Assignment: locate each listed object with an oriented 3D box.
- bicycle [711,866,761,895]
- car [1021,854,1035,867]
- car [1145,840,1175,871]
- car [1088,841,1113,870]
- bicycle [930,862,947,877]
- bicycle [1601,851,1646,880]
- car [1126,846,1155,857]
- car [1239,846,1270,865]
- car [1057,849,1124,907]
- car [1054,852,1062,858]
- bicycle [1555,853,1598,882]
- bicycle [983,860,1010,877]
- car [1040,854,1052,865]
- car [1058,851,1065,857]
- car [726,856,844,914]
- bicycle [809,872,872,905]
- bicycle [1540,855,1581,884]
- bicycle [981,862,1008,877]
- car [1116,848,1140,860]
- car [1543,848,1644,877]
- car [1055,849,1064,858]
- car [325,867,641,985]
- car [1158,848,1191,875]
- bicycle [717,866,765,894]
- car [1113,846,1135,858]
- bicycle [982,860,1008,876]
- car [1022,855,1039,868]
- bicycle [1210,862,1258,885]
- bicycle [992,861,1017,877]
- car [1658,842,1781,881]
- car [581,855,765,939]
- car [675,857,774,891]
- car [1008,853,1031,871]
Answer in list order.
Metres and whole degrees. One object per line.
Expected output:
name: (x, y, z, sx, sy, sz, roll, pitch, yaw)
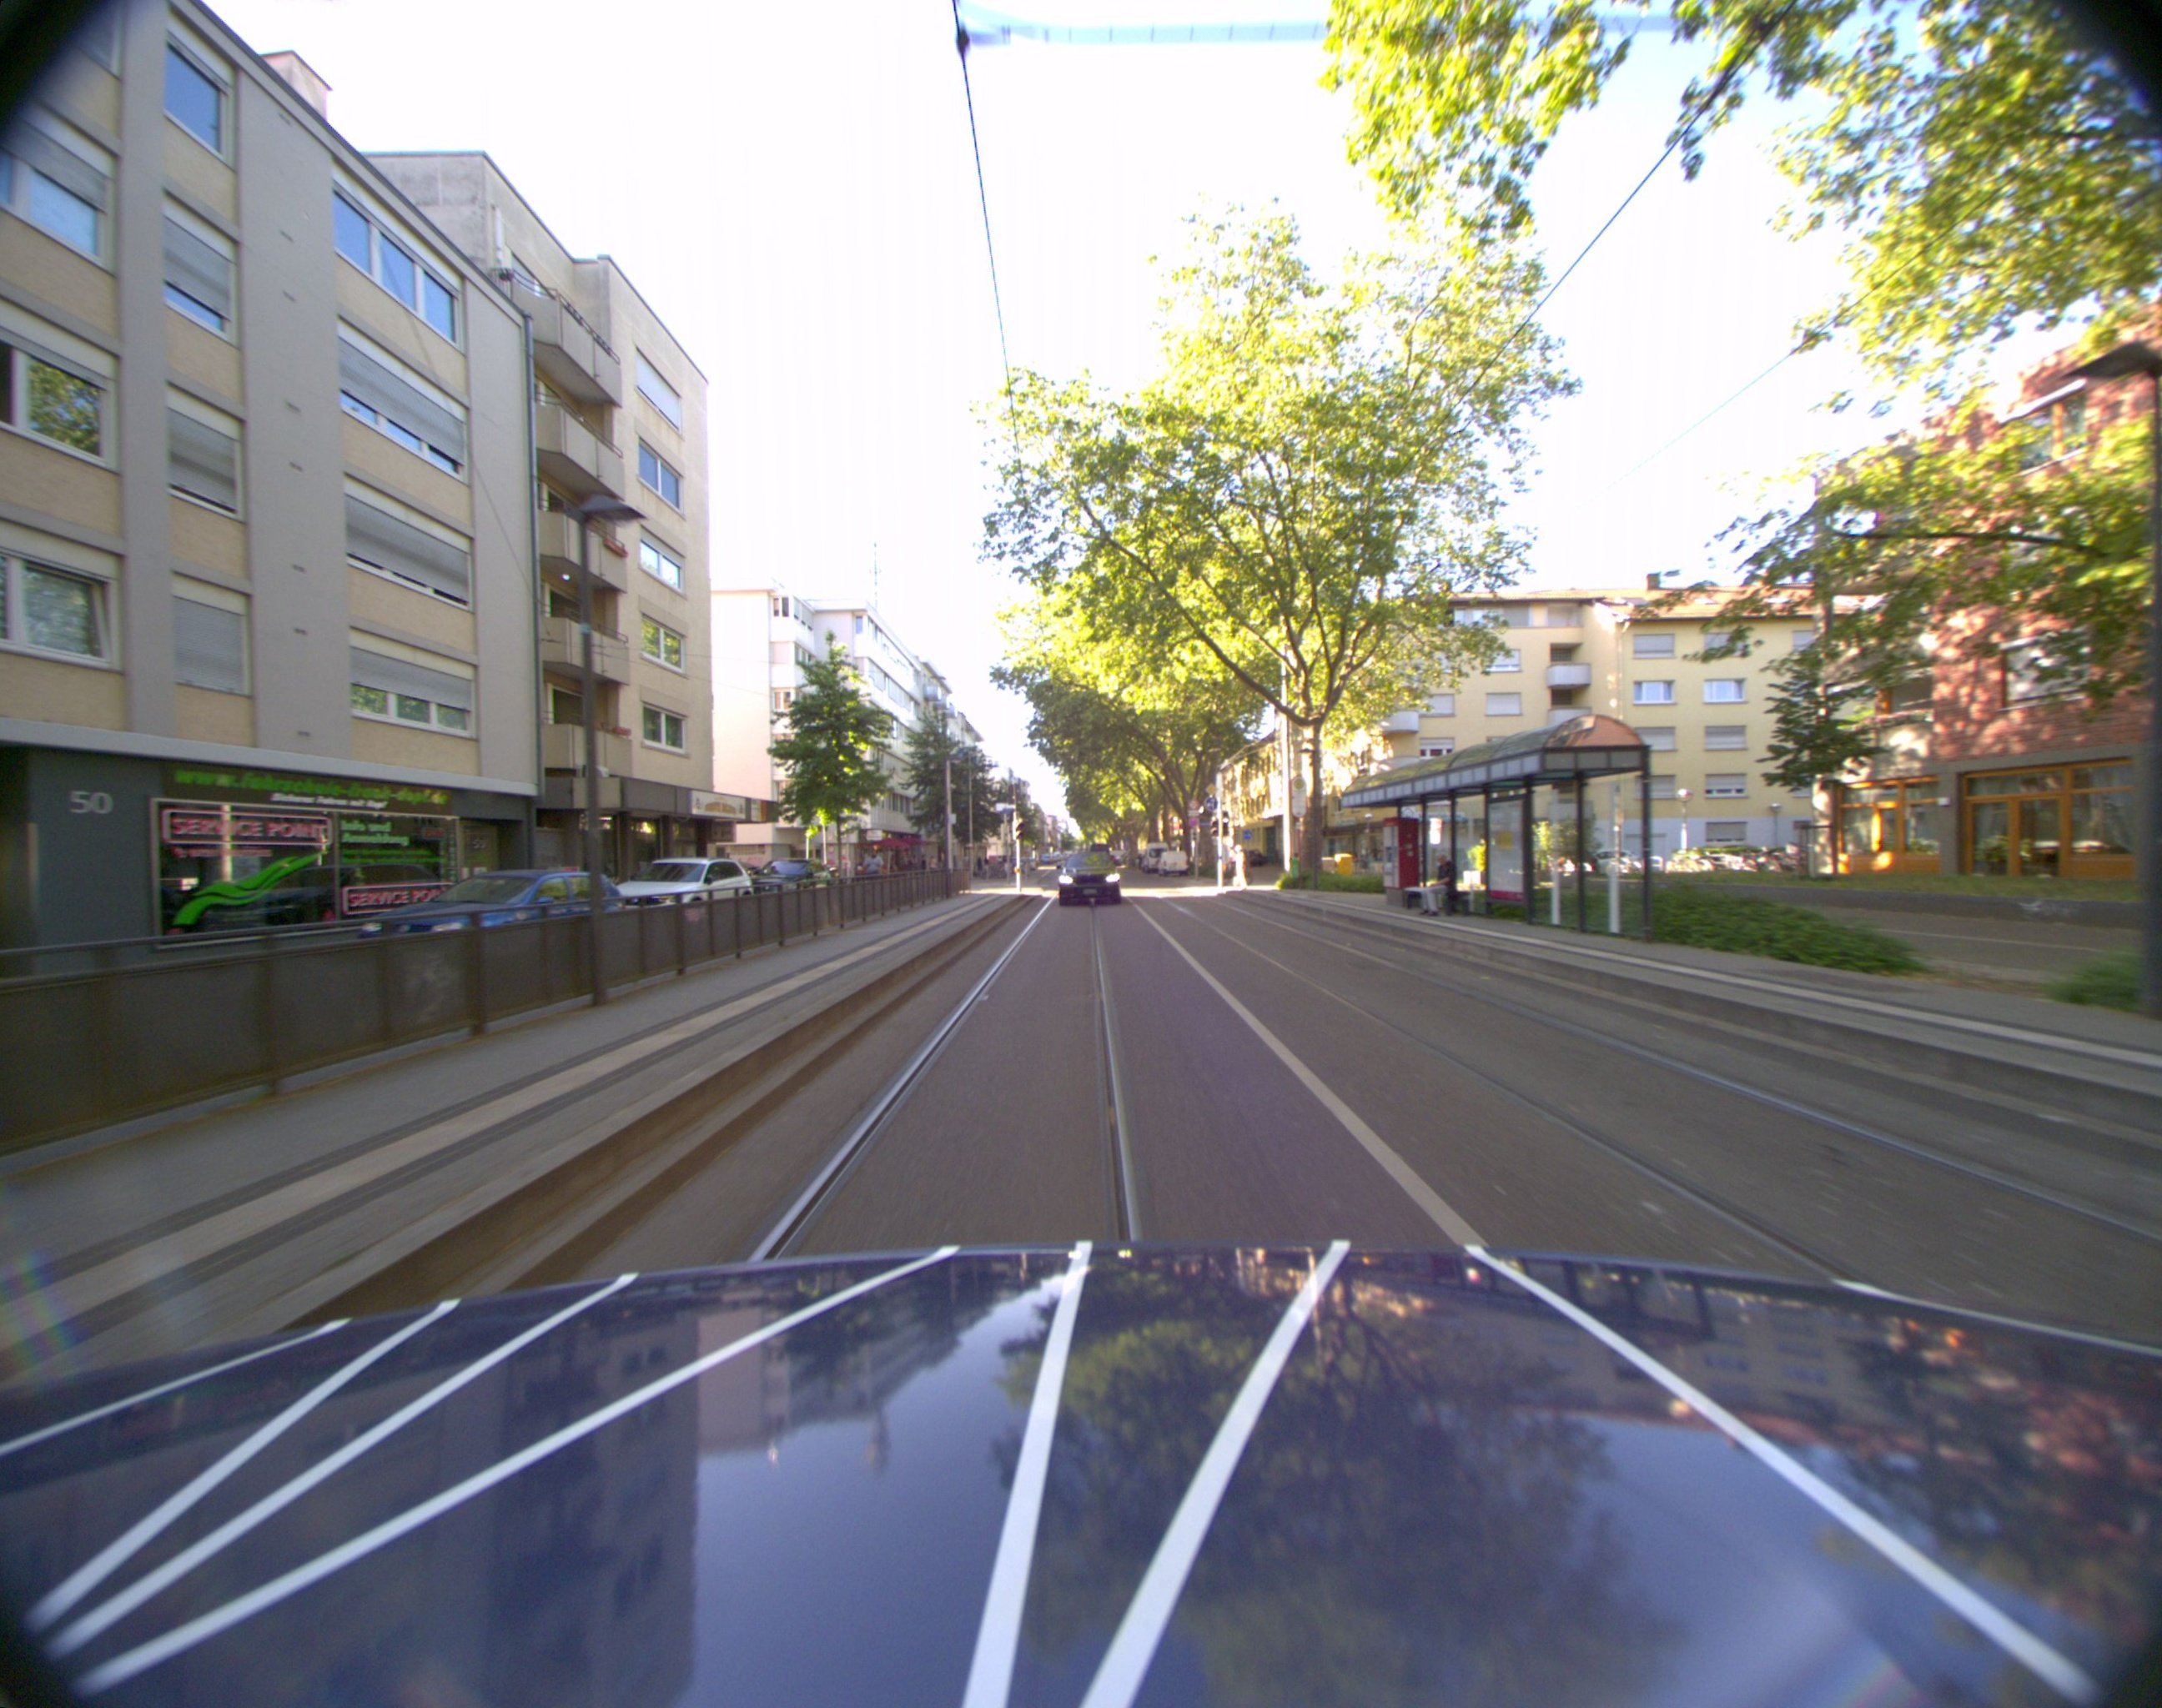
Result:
bicycle: (-15.453, 1.188, 34.045, 1.919, 1.201, 0.511, -2, 1, -3)
car: (-6.199, 0.775, 88.883, 1.448, 1.528, 2.881, 1, 0, 0)
car: (6.851, 0.078, 66.519, 2.113, 2.562, 6.024, -2, 1, 3)
car: (1.886, 0.092, 74.692, 2.119, 2.722, 6.113, 0, 1, -1)
bicycle: (-10.105, 1.073, 53.885, 0.678, 0.957, 2.022, -2, 1, 3)
bicycle: (20.945, 0.453, 29.370, 0.543, 1.077, 1.639, -2, -1, -1)
car: (11.160, -0.469, 141.840, 5.135, 1.984, 1.999, -2, 1, -4)
car: (17.375, 0.111, 76.435, 1.998, 1.723, 4.897, -2, 1, 1)
car: (0.318, 0.722, 25.385, 1.998, 1.723, 4.399, -1, 1, 1)
car: (-5.681, 0.267, 188.451, 1.867, 1.499, 4.000, -2, 1, 1)
bicycle: (19.251, 0.538, 29.532, 0.543, 1.077, 1.639, -2, -2, -1)
bicycle: (-6.032, 1.024, 54.201, 1.821, 1.094, 0.497, -2, 1, -8)
car: (-6.836, 1.010, 147.783, 1.958, 1.914, 3.999, -2, 1, 1)
car: (-5.579, 0.018, 217.755, 1.867, 1.499, 4.000, -2, 1, 1)
car: (-9.449, 0.921, 24.701, 1.998, 1.606, 4.444, -2, 1, 1)
bicycle: (-9.054, 1.292, 28.593, 2.130, 1.181, 0.681, -2, 1, 9)
bicycle: (18.624, 0.602, 29.530, 0.543, 1.077, 1.537, -2, -2, -1)
bicycle: (-6.067, 1.078, 53.366, 1.820, 0.988, 0.481, -2, 1, -2)
car: (9.343, -0.050, 150.592, 4.661, 2.293, 2.000, -2, 1, 0)
car: (27.244, 0.422, 40.469, 3.997, 1.368, 2.000, -2, 1, 0)
car: (-5.580, -0.197, 197.891, 1.991, 2.085, 4.470, -2, 1, 1)
car: (-9.427, 1.025, 12.531, 1.748, 1.432, 4.246, -2, 1, 1)
car: (6.794, 0.486, 55.569, 1.768, 1.840, 4.317, -2, 1, -1)
bicycle: (-15.488, 1.192, 34.658, 1.919, 1.200, 0.511, -2, 0, -3)
car: (9.375, -0.401, 165.143, 4.661, 2.518, 2.000, -2, 1, 0)
bicycle: (-6.223, 1.006, 54.764, 1.821, 1.094, 0.481, -2, 1, -8)
car: (-6.102, 0.849, 92.877, 1.791, 1.528, 4.127, 1, 0, 0)
bicycle: (7.603, 0.968, 37.718, 2.208, 1.064, 0.683, -1, 1, 30)
bicycle: (-5.617, 1.108, 55.784, 1.820, 1.094, 0.525, -1, 1, 0)
car: (29.067, 0.320, 34.694, 3.997, 1.652, 1.960, -1, 1, -1)
car: (-9.283, 0.882, 17.774, 1.804, 1.596, 4.414, -2, 1, 1)
car: (-18.866, 1.061, 40.371, 4.259, 1.583, 1.966, -2, 2, -1)
car: (-5.885, 0.780, 73.299, 1.763, 1.578, 4.328, 2, 1, 0)
